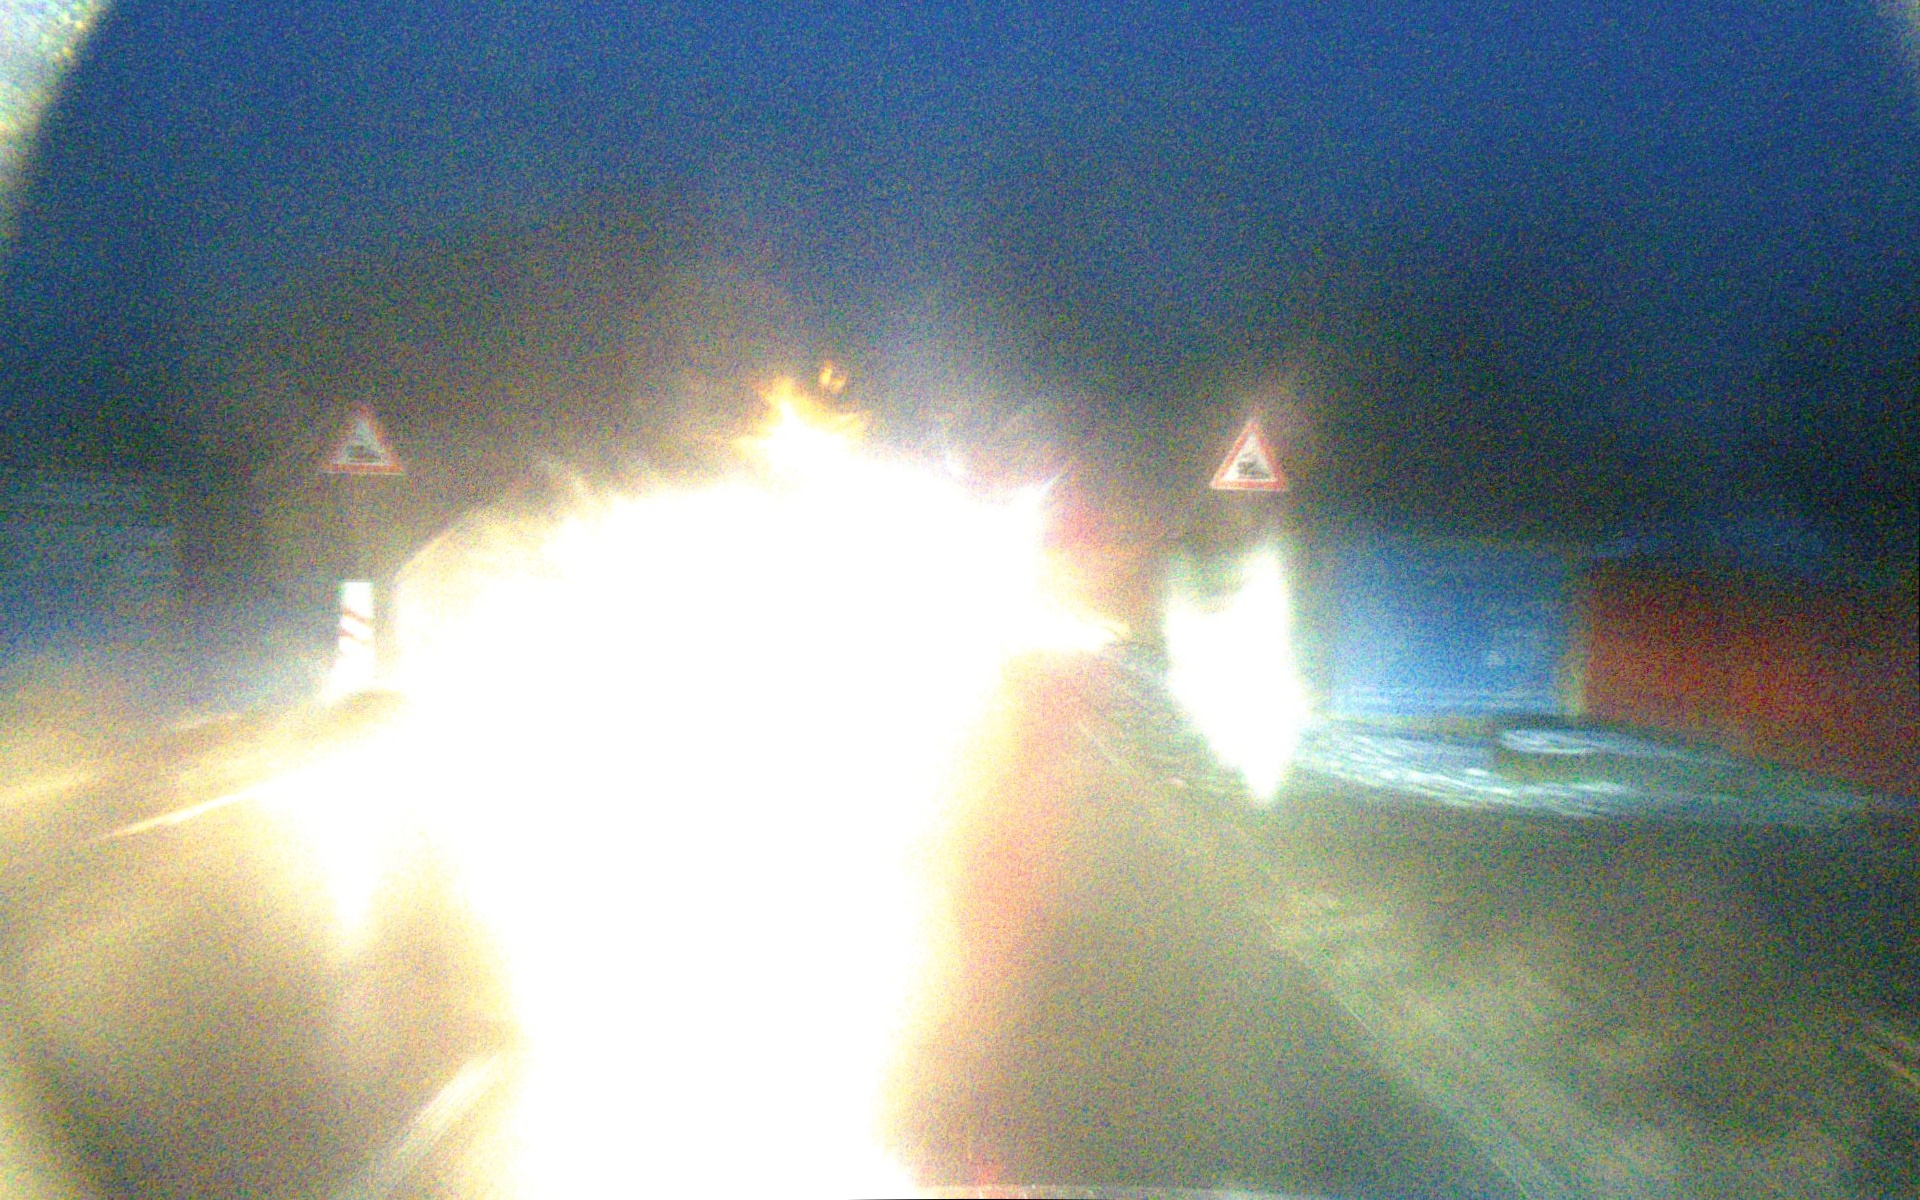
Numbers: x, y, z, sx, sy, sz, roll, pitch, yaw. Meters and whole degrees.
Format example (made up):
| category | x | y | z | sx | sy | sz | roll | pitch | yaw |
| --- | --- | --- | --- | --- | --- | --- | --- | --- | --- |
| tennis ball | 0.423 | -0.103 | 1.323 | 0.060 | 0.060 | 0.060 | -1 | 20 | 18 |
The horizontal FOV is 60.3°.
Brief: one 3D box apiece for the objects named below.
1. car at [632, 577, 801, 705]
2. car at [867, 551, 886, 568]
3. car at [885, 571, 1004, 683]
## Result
| category | x | y | z | sx | sy | sz | roll | pitch | yaw |
| --- | --- | --- | --- | --- | --- | --- | --- | --- | --- |
| car | -3.237 | 0.504 | 22.594 | 1.765 | 1.535 | 3.614 | 2 | 0 | -1 |
| car | -7.694 | -3.713 | 152.591 | 1.697 | 1.545 | 4.014 | 1 | 1 | -2 |
| car | -0.259 | 0.405 | 27.228 | 1.765 | 1.657 | 3.614 | 2 | 0 | -1 |
